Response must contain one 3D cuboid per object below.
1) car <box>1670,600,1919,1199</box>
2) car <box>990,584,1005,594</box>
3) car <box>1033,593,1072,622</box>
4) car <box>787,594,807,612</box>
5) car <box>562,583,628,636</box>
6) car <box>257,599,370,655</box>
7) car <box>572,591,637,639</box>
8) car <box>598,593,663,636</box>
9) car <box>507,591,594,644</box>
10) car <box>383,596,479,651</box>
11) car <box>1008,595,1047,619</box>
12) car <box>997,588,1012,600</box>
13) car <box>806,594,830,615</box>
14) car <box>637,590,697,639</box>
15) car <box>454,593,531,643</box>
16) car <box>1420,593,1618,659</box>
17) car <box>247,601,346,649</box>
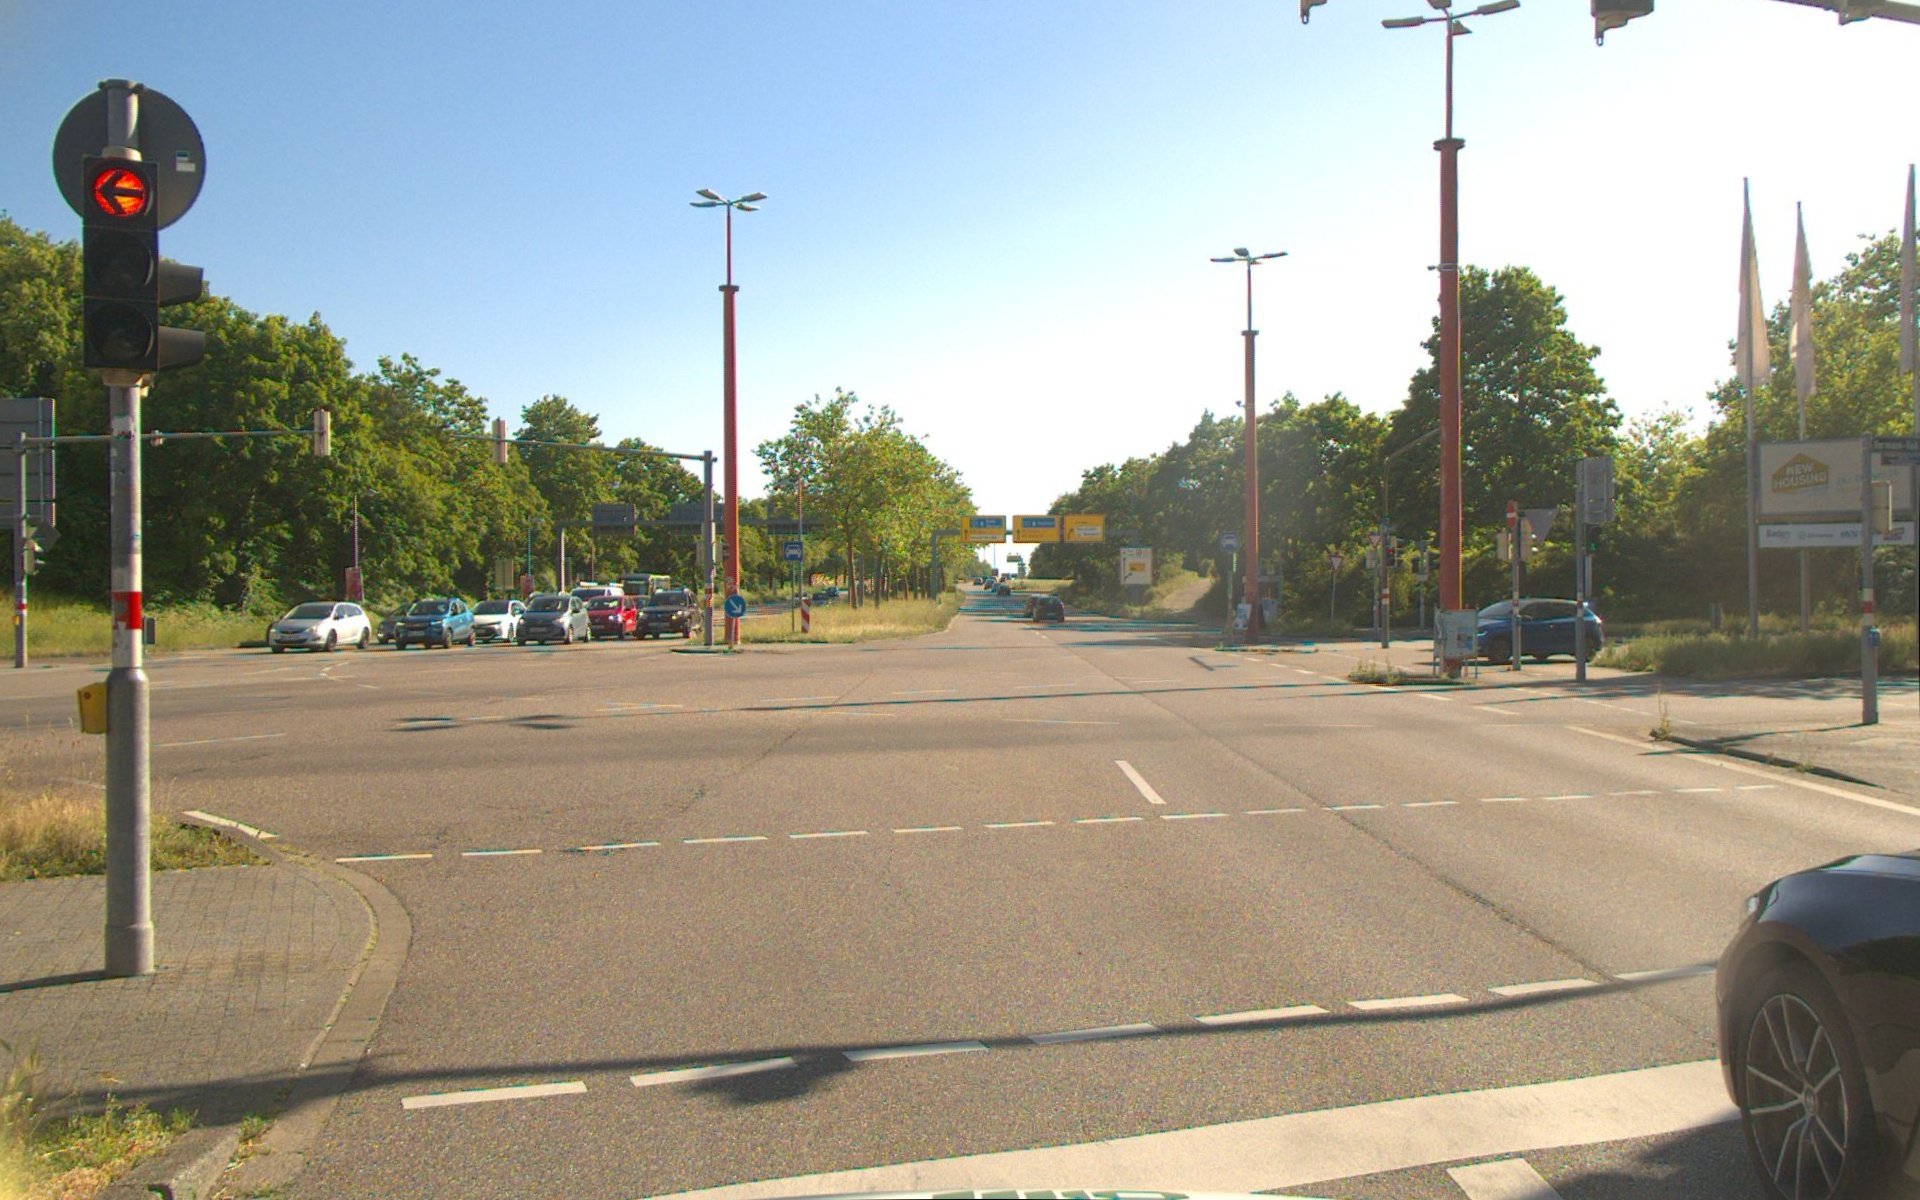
[{"bbox_3d":[2.974,0.713,2.349,1.953,1.419,4.476,0,0,-1],"label":"car"},{"bbox_3d":[5.774,-1.682,253.300,2.115,1.601,4.279,0,0,-2],"label":"car"},{"bbox_3d":[5.156,0.397,92.866,2.114,1.601,4.282,0,0,2],"label":"car"},{"bbox_3d":[-15.254,0.290,155.058,1.840,1.601,4.116,0,0,-5],"label":"car"},{"bbox_3d":[-15.677,0.388,71.251,2.021,2.231,4.376,0,0,-3],"label":"car"},{"bbox_3d":[-19.589,0.787,50.284,1.954,1.601,4.118,0,0,-3],"label":"car"},{"bbox_3d":[-12.483,0.508,58.258,1.956,1.601,4.113,0,0,-8],"label":"car"},{"bbox_3d":[-12.716,0.529,64.033,1.954,1.601,4.117,0,0,-4],"label":"car"},{"bbox_3d":[-12.808,0.523,51.951,1.954,1.601,4.118,0,0,-4],"label":"car"},{"bbox_3d":[-16.211,0.683,50.877,1.955,1.601,4.116,0,0,-5],"label":"car"},{"bbox_3d":[4.539,0.472,111.695,2.116,1.601,4.579,0,0,-4],"label":"car"},{"bbox_3d":[6.094,-0.810,227.154,2.114,1.601,4.281,0,0,1],"label":"car"},{"bbox_3d":[-11.185,0.324,130.102,1.840,1.601,4.116,0,0,-5],"label":"car"},{"bbox_3d":[-9.878,0.473,55.978,1.841,1.601,4.113,0,0,-8],"label":"car"},{"bbox_3d":[-15.994,0.598,56.771,1.956,1.601,4.113,-1,0,-8],"label":"car"},{"bbox_3d":[13.093,0.571,38.753,4.205,1.453,1.873,0,0,-21],"label":"car"},{"bbox_3d":[-23.593,0.861,58.954,1.953,1.626,4.220,0,0,-2],"label":"car"}]
